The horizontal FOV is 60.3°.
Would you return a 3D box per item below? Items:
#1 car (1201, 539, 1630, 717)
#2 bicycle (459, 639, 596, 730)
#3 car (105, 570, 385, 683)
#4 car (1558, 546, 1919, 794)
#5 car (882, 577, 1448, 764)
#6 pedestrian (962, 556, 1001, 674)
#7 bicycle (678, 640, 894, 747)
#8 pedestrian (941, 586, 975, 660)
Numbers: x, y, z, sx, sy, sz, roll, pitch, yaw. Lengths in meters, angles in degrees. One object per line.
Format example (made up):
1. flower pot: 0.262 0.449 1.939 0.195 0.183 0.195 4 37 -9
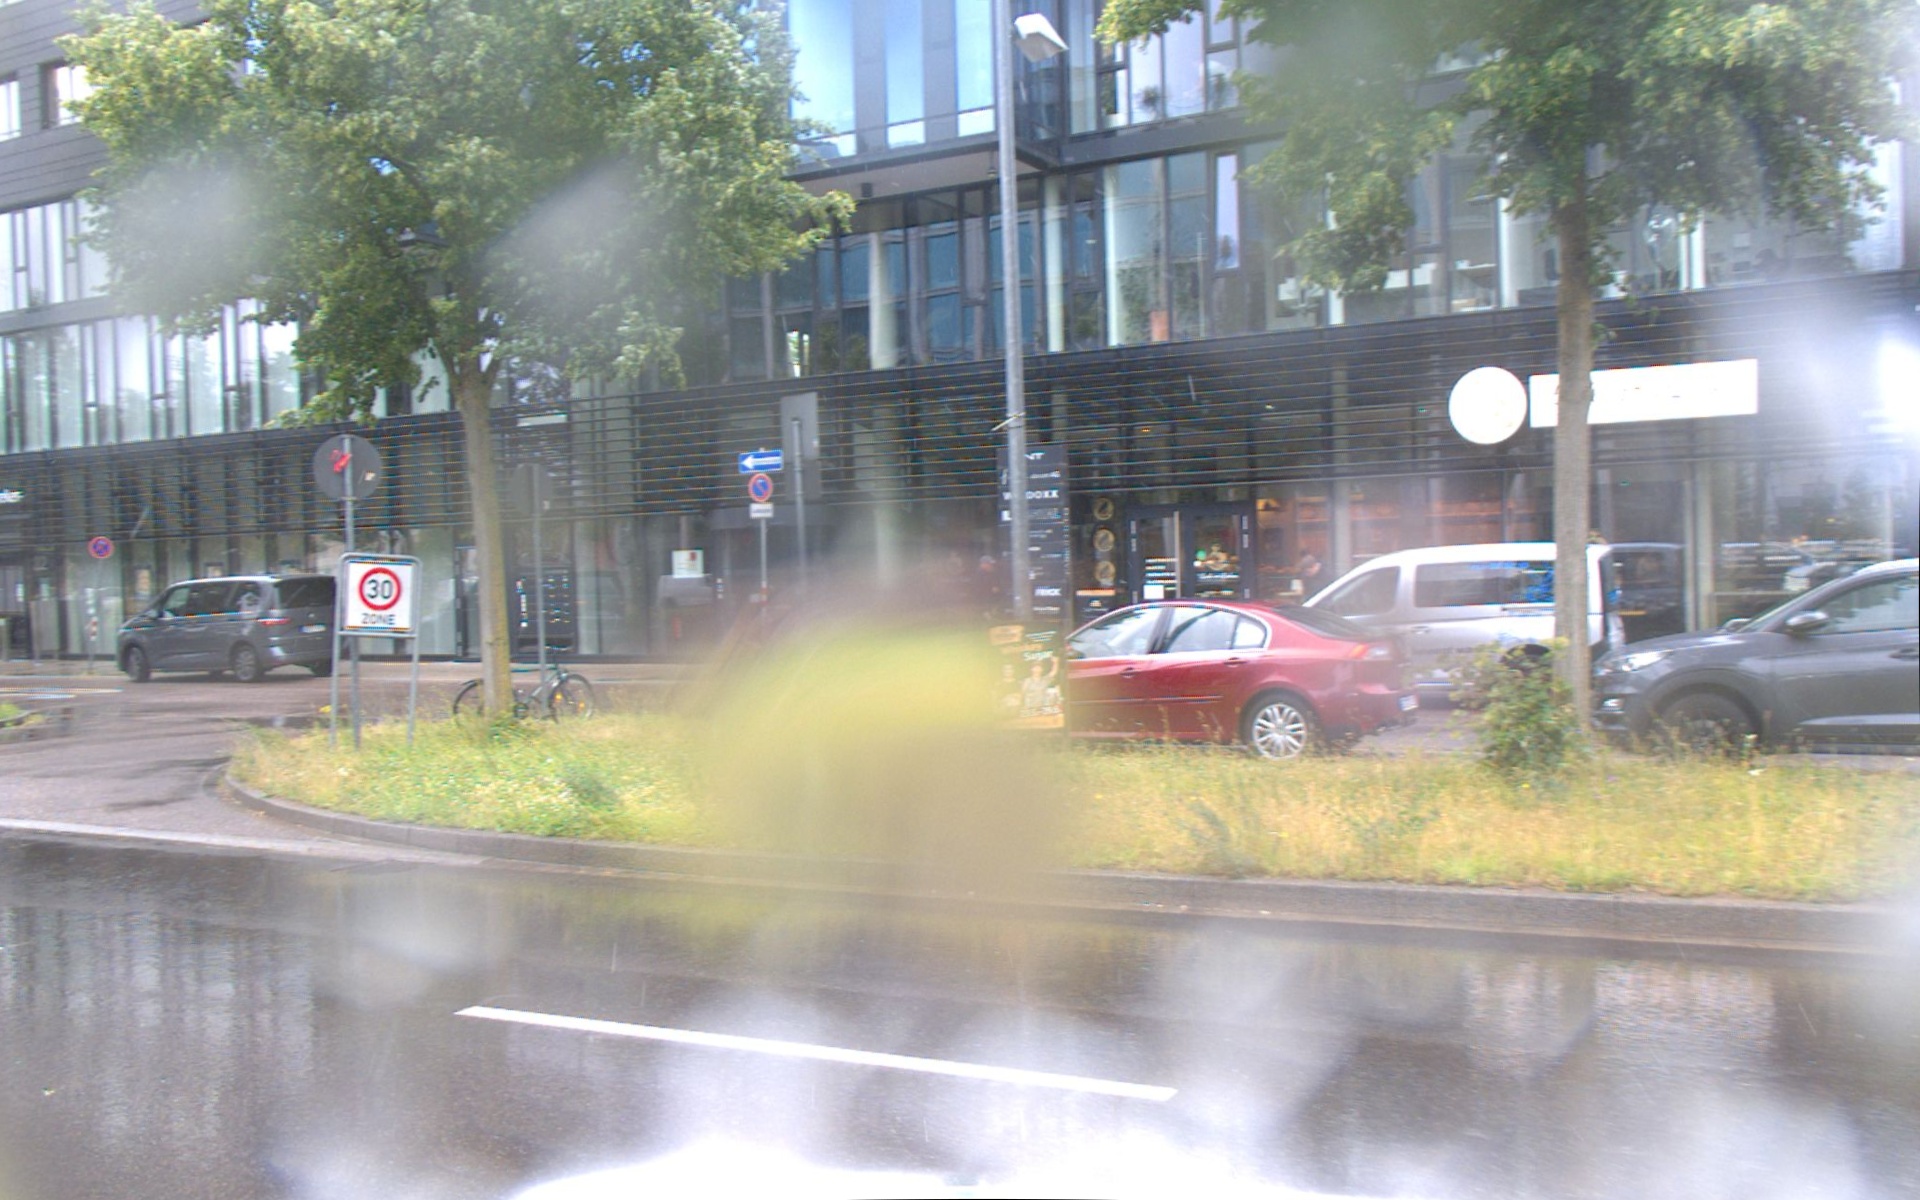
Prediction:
1. car: 5.345 0.228 19.501 4.616 1.898 1.898 1 2 26
2. bicycle: -4.854 0.935 18.590 1.441 0.933 0.429 -1 2 -30
3. car: -13.373 0.499 30.875 5.032 1.953 1.998 -1 1 27
4. car: 6.916 0.462 12.724 4.123 1.737 1.998 1 2 28
5. car: 1.868 0.592 15.459 4.849 1.480 1.997 -1 1 29
6. pedestrian: 0.345 0.230 26.504 0.564 1.864 0.506 0 2 -8
7. bicycle: -1.572 0.834 15.001 1.867 0.877 0.575 1 2 13
8. pedestrian: -0.039 0.396 29.021 0.441 1.258 0.578 -1 2 -20
